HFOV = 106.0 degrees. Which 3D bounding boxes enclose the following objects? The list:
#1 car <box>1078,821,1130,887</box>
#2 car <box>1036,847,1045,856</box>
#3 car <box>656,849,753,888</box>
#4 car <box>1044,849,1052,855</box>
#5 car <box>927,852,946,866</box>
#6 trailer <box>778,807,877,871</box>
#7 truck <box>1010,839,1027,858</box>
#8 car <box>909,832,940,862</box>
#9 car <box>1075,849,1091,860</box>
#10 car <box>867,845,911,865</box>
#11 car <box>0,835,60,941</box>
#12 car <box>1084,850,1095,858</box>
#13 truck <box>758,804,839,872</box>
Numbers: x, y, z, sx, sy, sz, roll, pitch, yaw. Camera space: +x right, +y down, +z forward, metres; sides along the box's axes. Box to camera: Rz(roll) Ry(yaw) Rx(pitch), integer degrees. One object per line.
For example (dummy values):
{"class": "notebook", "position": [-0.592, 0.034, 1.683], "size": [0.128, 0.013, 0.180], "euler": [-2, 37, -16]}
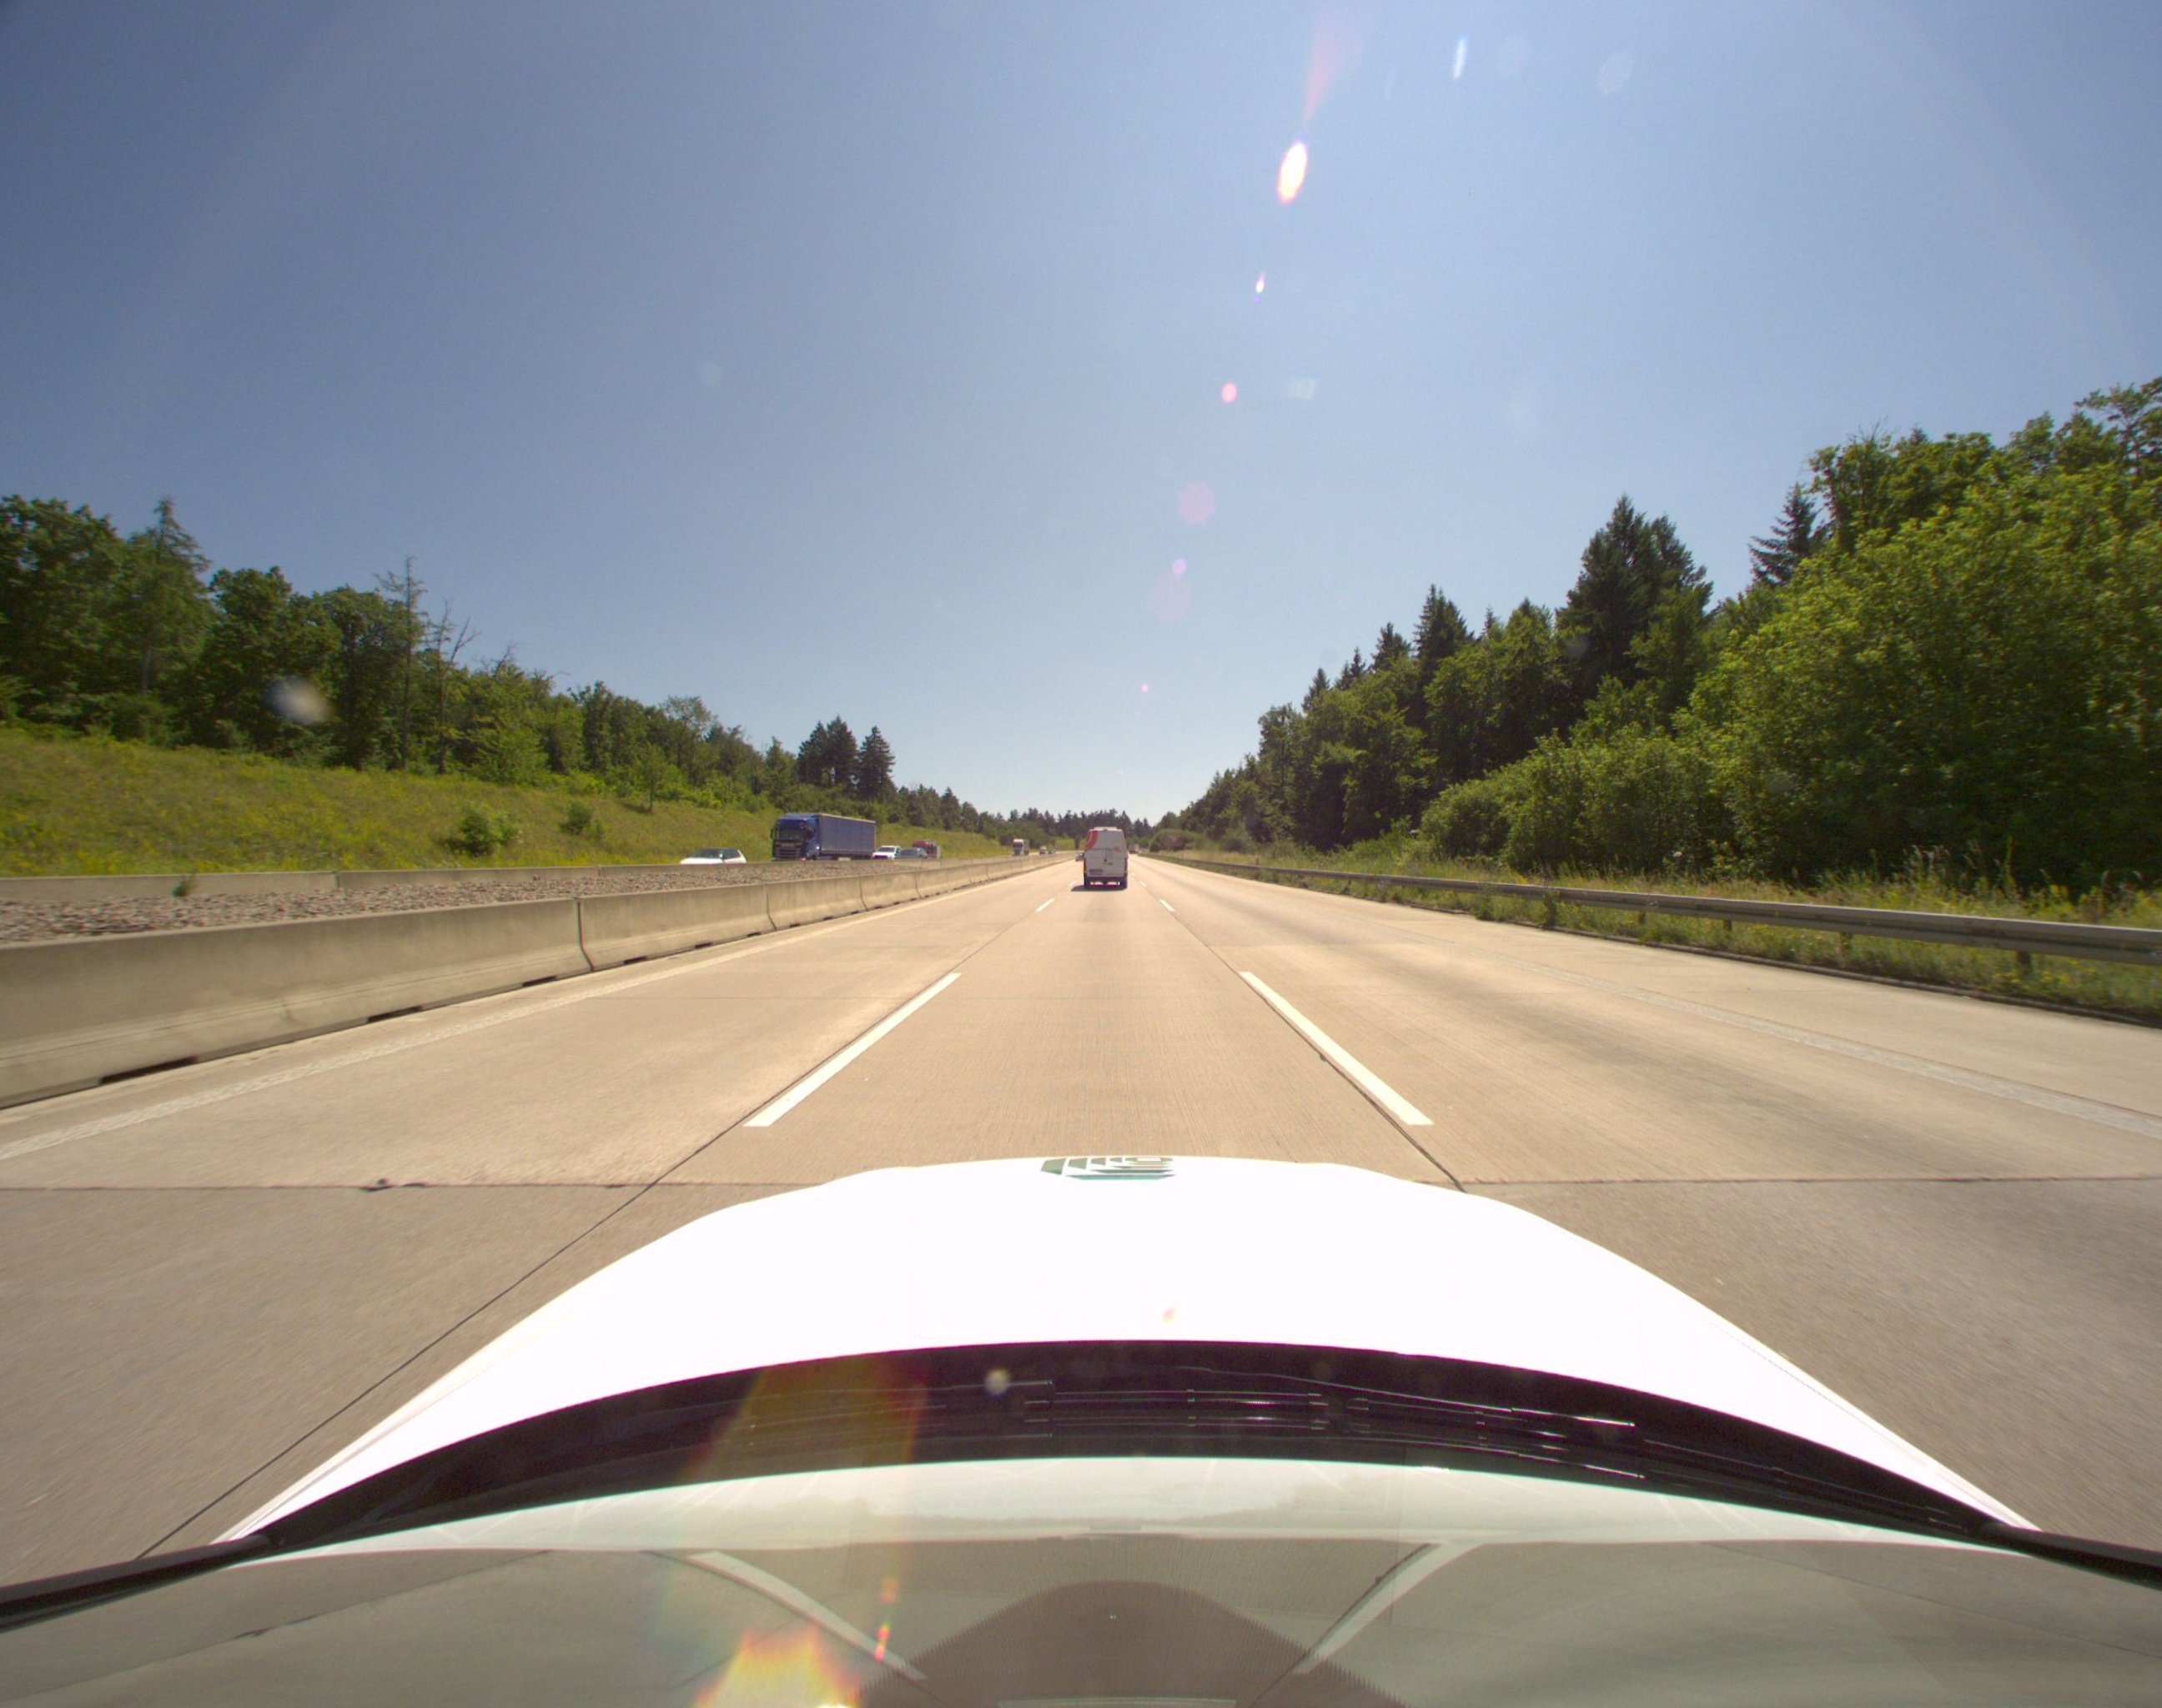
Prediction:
{"class": "car", "position": [1.085, -0.021, 37.872], "size": [2.218, 2.844, 5.456], "euler": [0, 0, 1]}
{"class": "car", "position": [-10.914, -0.759, 221.839], "size": [1.986, 2.485, 5.182], "euler": [0, 0, 2]}
{"class": "car", "position": [-16.411, 0.602, 35.794], "size": [1.986, 1.583, 4.532], "euler": [0, 0, 2]}
{"class": "car", "position": [-10.025, -0.619, 248.326], "size": [1.986, 1.583, 4.045], "euler": [0, 0, 2]}
{"class": "car", "position": [-17.578, 0.592, 99.155], "size": [1.608, 1.600, 3.578], "euler": [-2, 0, 2]}
{"class": "trailer", "position": [-19.744, -1.035, 64.689], "size": [3.245, 4.504, 13.742], "euler": [0, 0, 1]}
{"class": "truck", "position": [-15.403, -1.243, 200.121], "size": [3.244, 4.504, 7.990], "euler": [0, 0, 2]}
{"class": "car", "position": [-17.779, -0.778, 92.974], "size": [1.986, 3.241, 7.063], "euler": [0, 0, 2]}
{"class": "car", "position": [0.287, 0.067, 123.742], "size": [1.983, 1.684, 4.007], "euler": [0, 0, 6]}
{"class": "car", "position": [-15.296, 0.073, 65.180], "size": [1.986, 1.583, 5.522], "euler": [0, 0, 2]}
{"class": "car", "position": [-17.167, 0.503, 10.627], "size": [1.986, 1.583, 4.433], "euler": [0, 0, 2]}
{"class": "car", "position": [1.754, -0.042, 169.954], "size": [1.983, 1.684, 4.007], "euler": [0, 0, 6]}
{"class": "truck", "position": [-19.914, -1.061, 57.841], "size": [3.245, 4.504, 6.576], "euler": [0, 0, 1]}
